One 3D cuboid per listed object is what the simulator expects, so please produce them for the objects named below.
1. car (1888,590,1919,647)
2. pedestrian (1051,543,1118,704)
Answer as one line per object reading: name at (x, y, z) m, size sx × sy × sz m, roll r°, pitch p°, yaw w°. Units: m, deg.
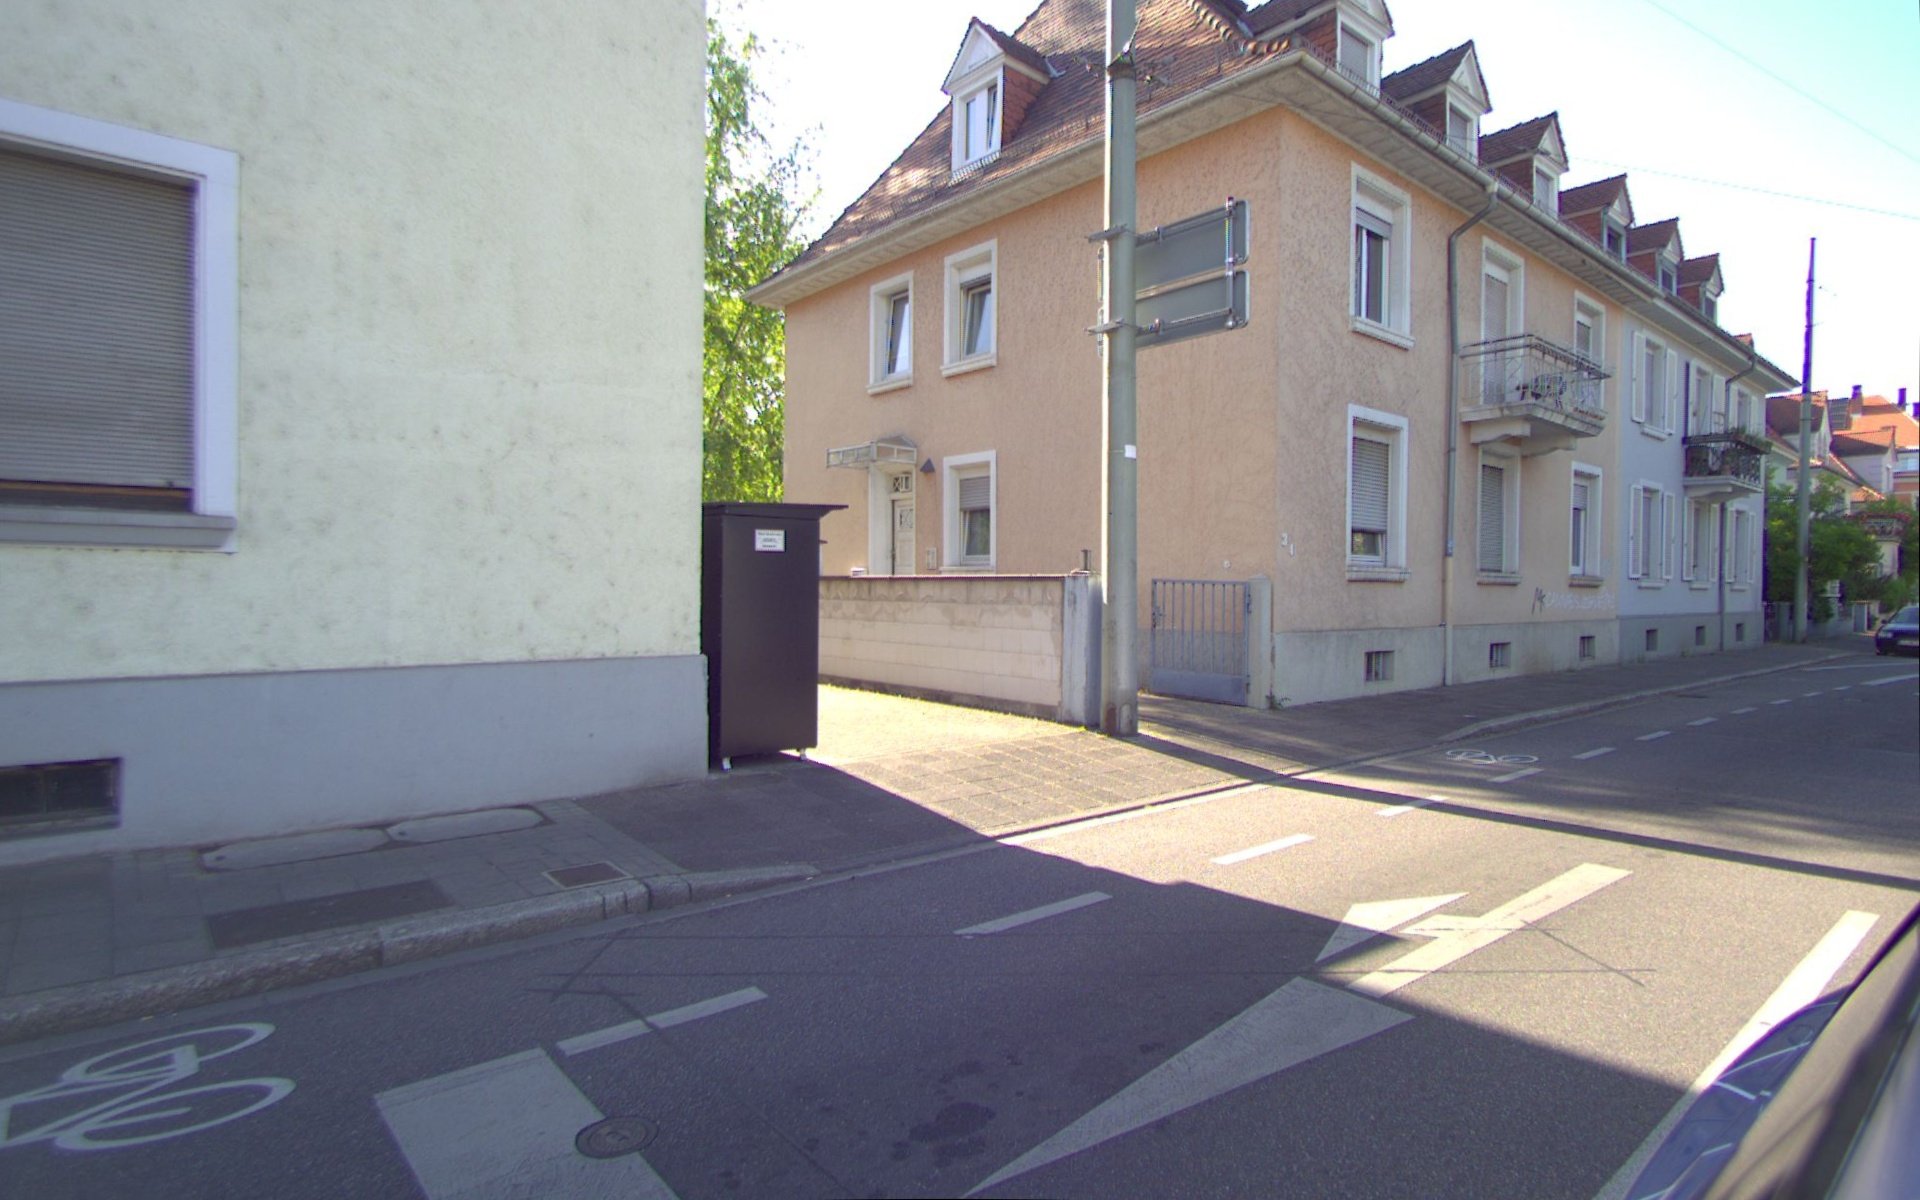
car at (26.860, 0.486, 27.382) m, size 3.925 × 1.504 × 1.883 m, roll 0°, pitch 1°, yaw -37°
pedestrian at (1.426, 0.252, 11.588) m, size 0.592 × 1.783 × 0.486 m, roll 0°, pitch 0°, yaw -39°
